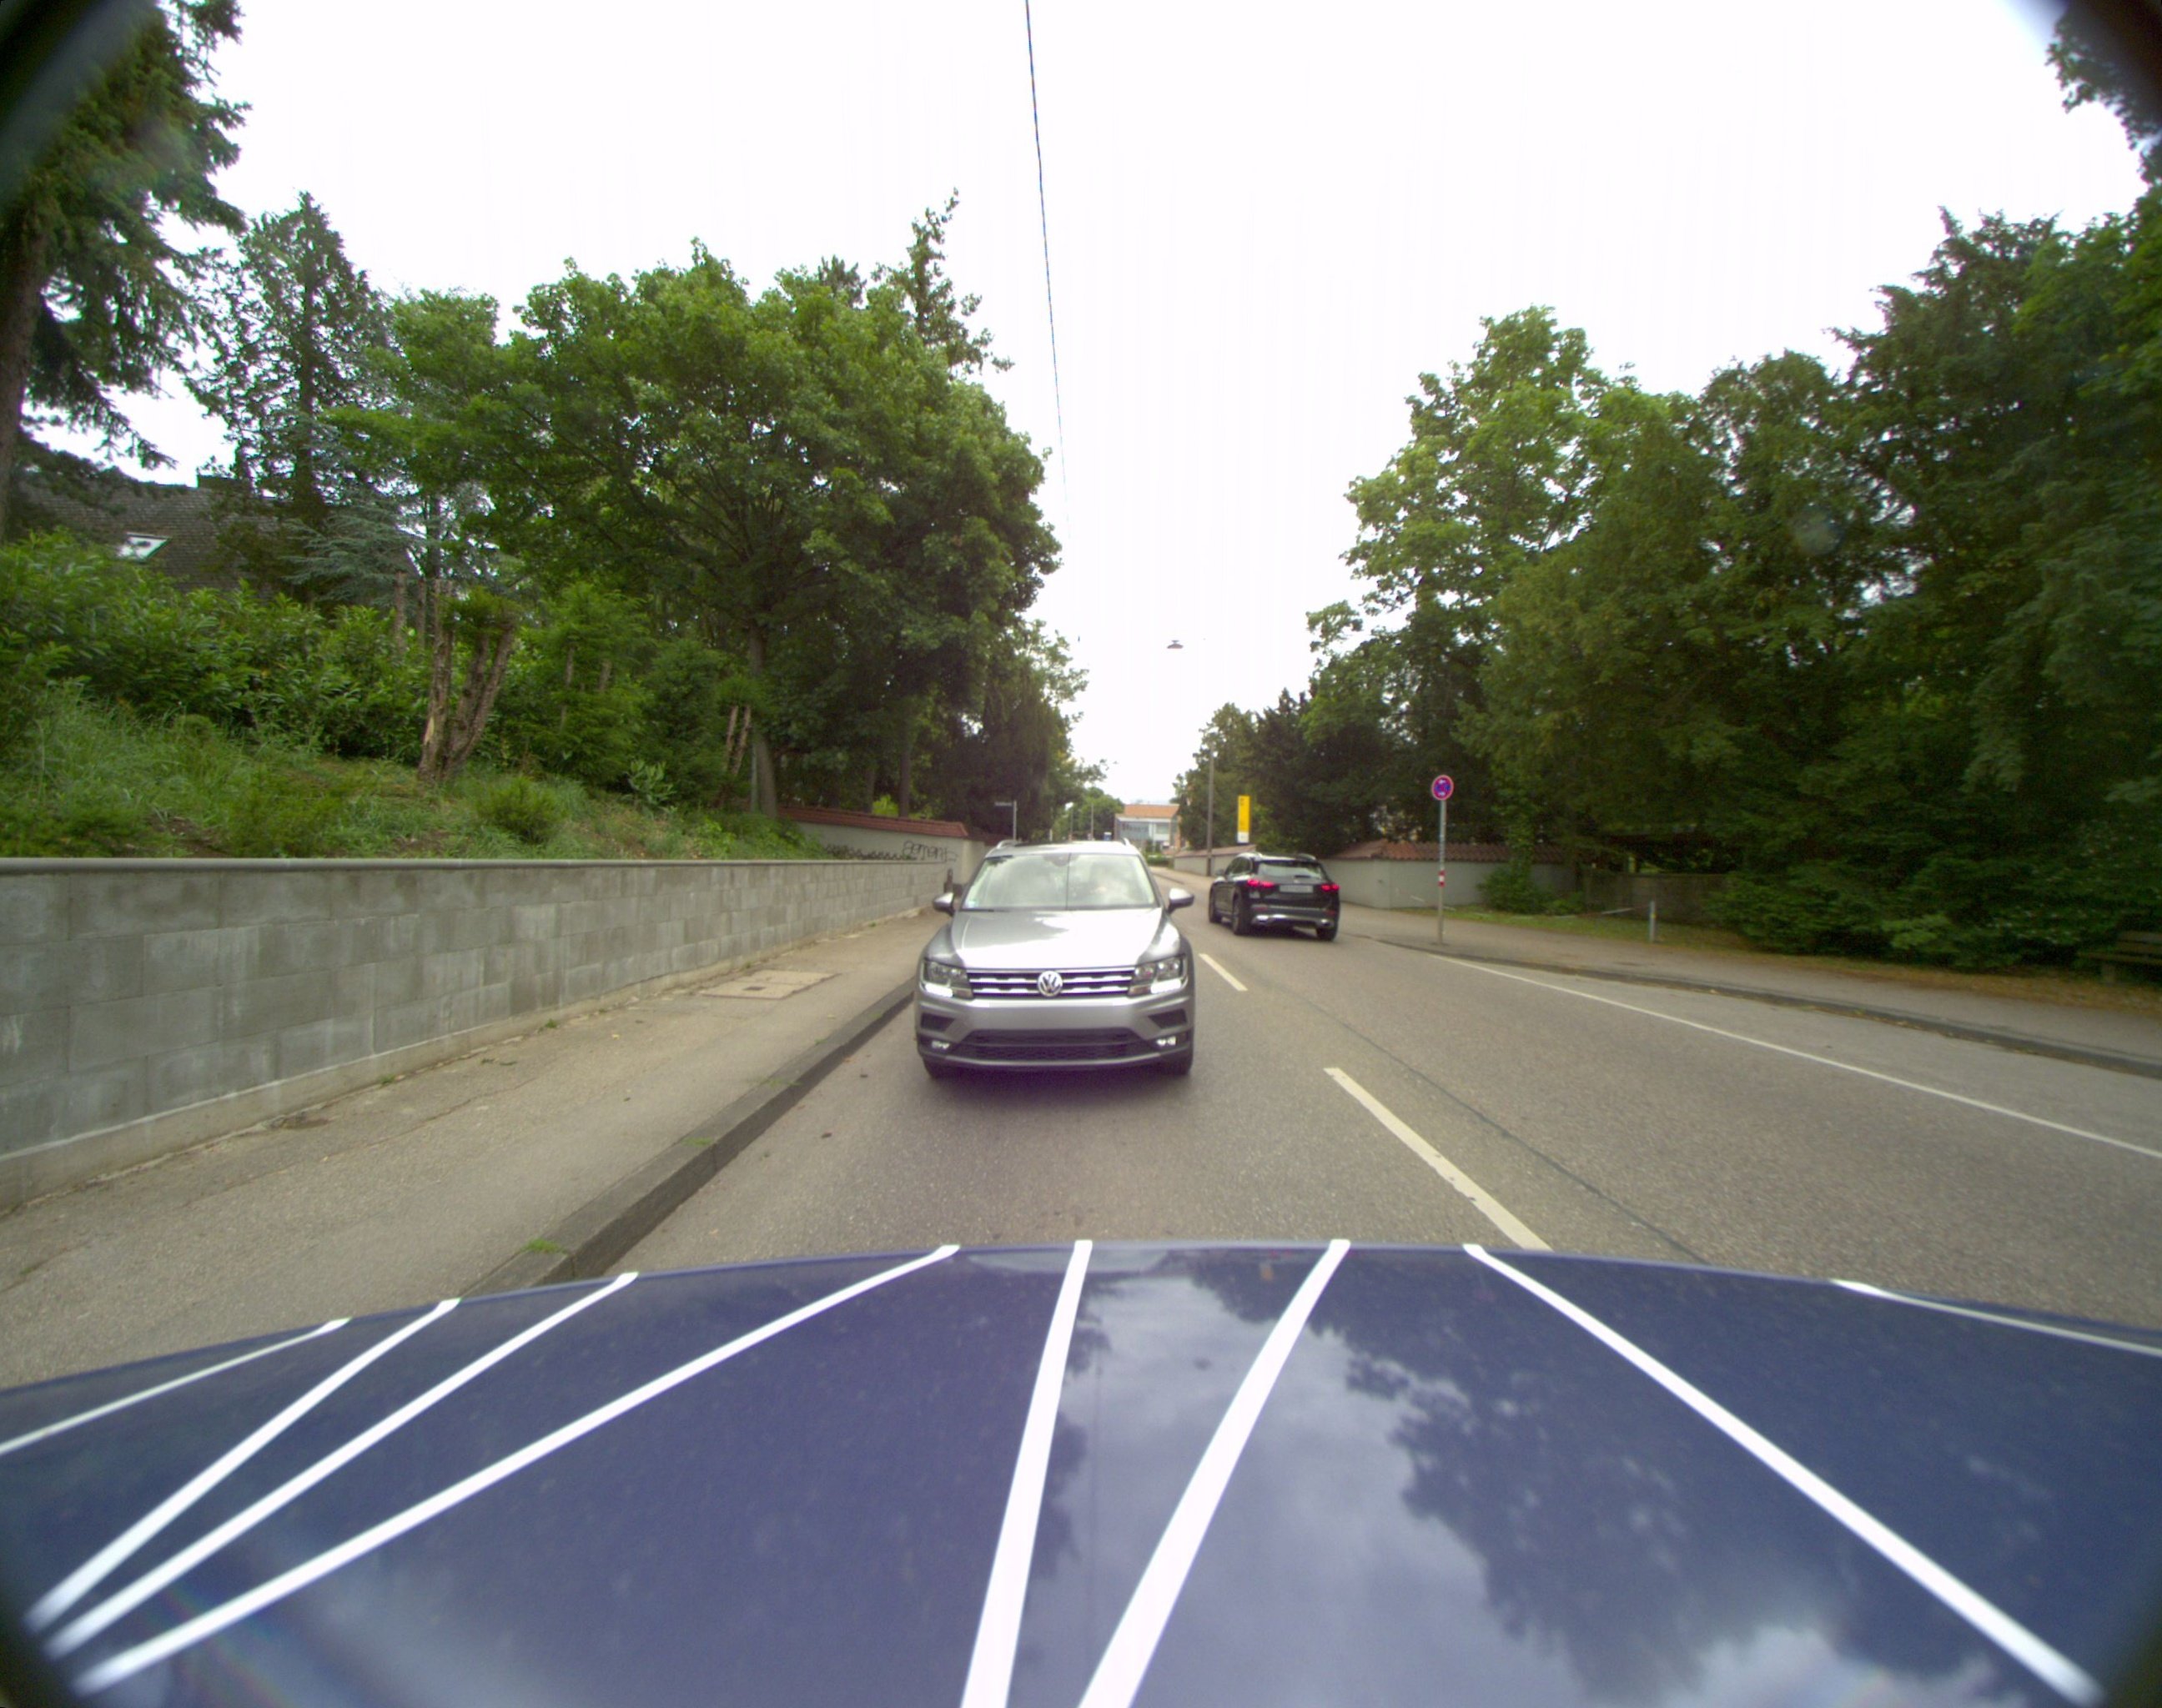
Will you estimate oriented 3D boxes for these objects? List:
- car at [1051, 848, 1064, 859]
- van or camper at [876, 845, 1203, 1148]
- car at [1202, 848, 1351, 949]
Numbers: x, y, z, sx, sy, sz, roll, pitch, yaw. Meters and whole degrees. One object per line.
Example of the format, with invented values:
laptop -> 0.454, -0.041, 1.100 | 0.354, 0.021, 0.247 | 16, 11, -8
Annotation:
car -> -3.512, -0.081, 114.983 | 1.789, 1.644, 4.120 | 3, 0, 1
van or camper -> -0.205, 0.774, 6.292 | 1.800, 1.663, 4.198 | 0, 0, 1
car -> 3.727, 0.755, 15.295 | 1.864, 1.648, 4.306 | 3, 0, 1
